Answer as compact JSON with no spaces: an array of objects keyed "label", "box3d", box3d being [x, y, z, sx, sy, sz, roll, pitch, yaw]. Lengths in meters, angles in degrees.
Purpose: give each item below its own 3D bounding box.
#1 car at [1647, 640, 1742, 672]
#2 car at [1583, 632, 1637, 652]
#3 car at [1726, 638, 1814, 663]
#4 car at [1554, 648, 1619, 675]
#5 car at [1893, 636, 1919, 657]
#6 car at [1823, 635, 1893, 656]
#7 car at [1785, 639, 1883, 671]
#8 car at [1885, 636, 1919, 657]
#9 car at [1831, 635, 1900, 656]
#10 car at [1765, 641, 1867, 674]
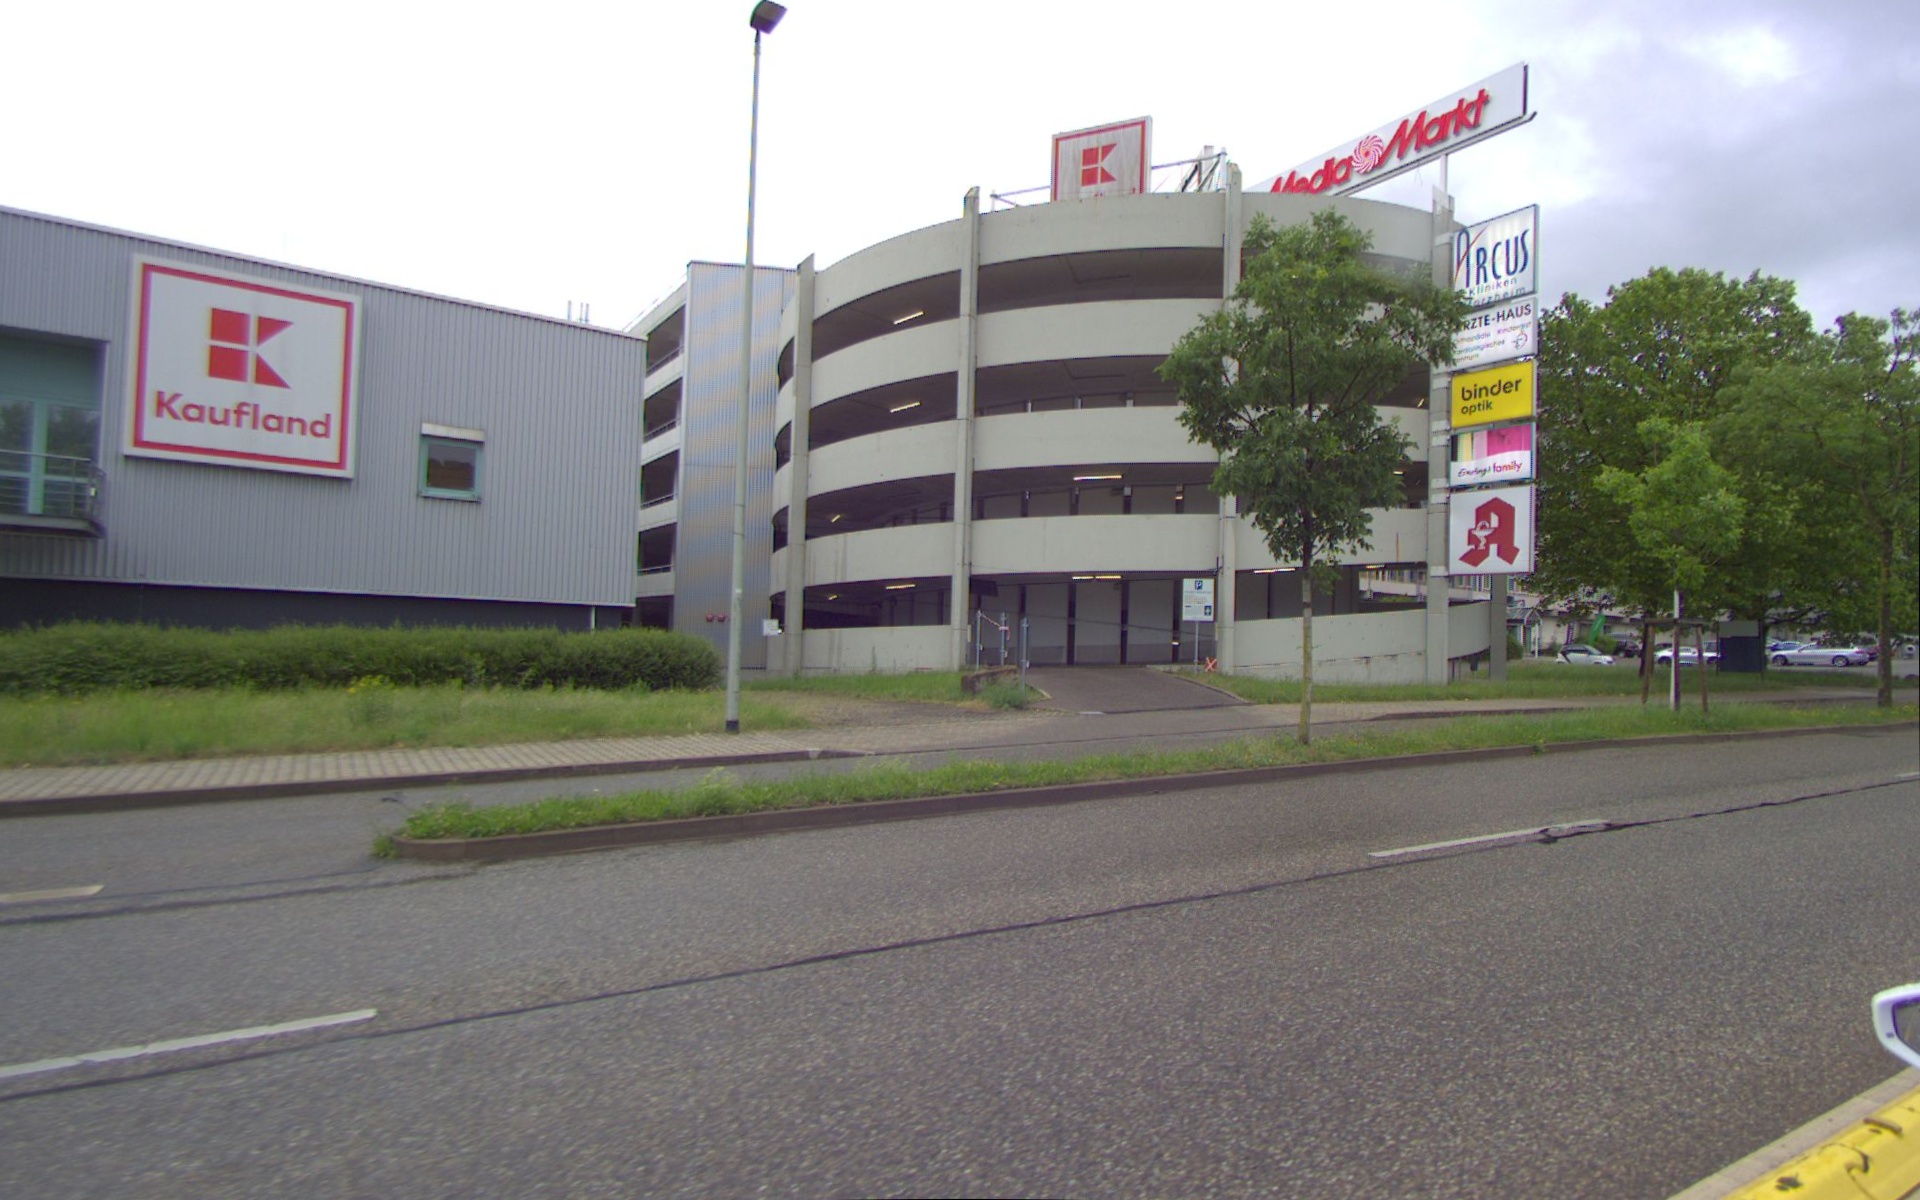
[{"label":"car","box3d":[46.658,3.542,63.899,1.950,1.769,4.561,0,0,-39]},{"label":"car","box3d":[61.166,3.919,94.564,1.782,1.755,3.961,0,0,-35]},{"label":"car","box3d":[58.007,3.612,71.996,2.005,1.530,4.578,0,0,-36]},{"label":"car","box3d":[34.838,3.410,55.866,1.596,1.383,2.676,0,-3,-38]},{"label":"car","box3d":[77.333,3.733,80.083,1.801,1.530,4.080,0,0,-36]},{"label":"car","box3d":[74.713,3.758,83.642,1.801,1.530,4.080,0,0,-36]},{"label":"car","box3d":[55.746,3.464,64.155,1.882,1.769,4.468,0,0,-36]},{"label":"car","box3d":[75.527,3.682,78.796,1.801,1.530,4.080,0,0,-36]},{"label":"car","box3d":[76.824,3.849,85.274,1.801,1.530,4.080,0,0,-36]},{"label":"car","box3d":[53.468,3.544,62.822,1.948,1.769,4.567,0,0,-36]}]
